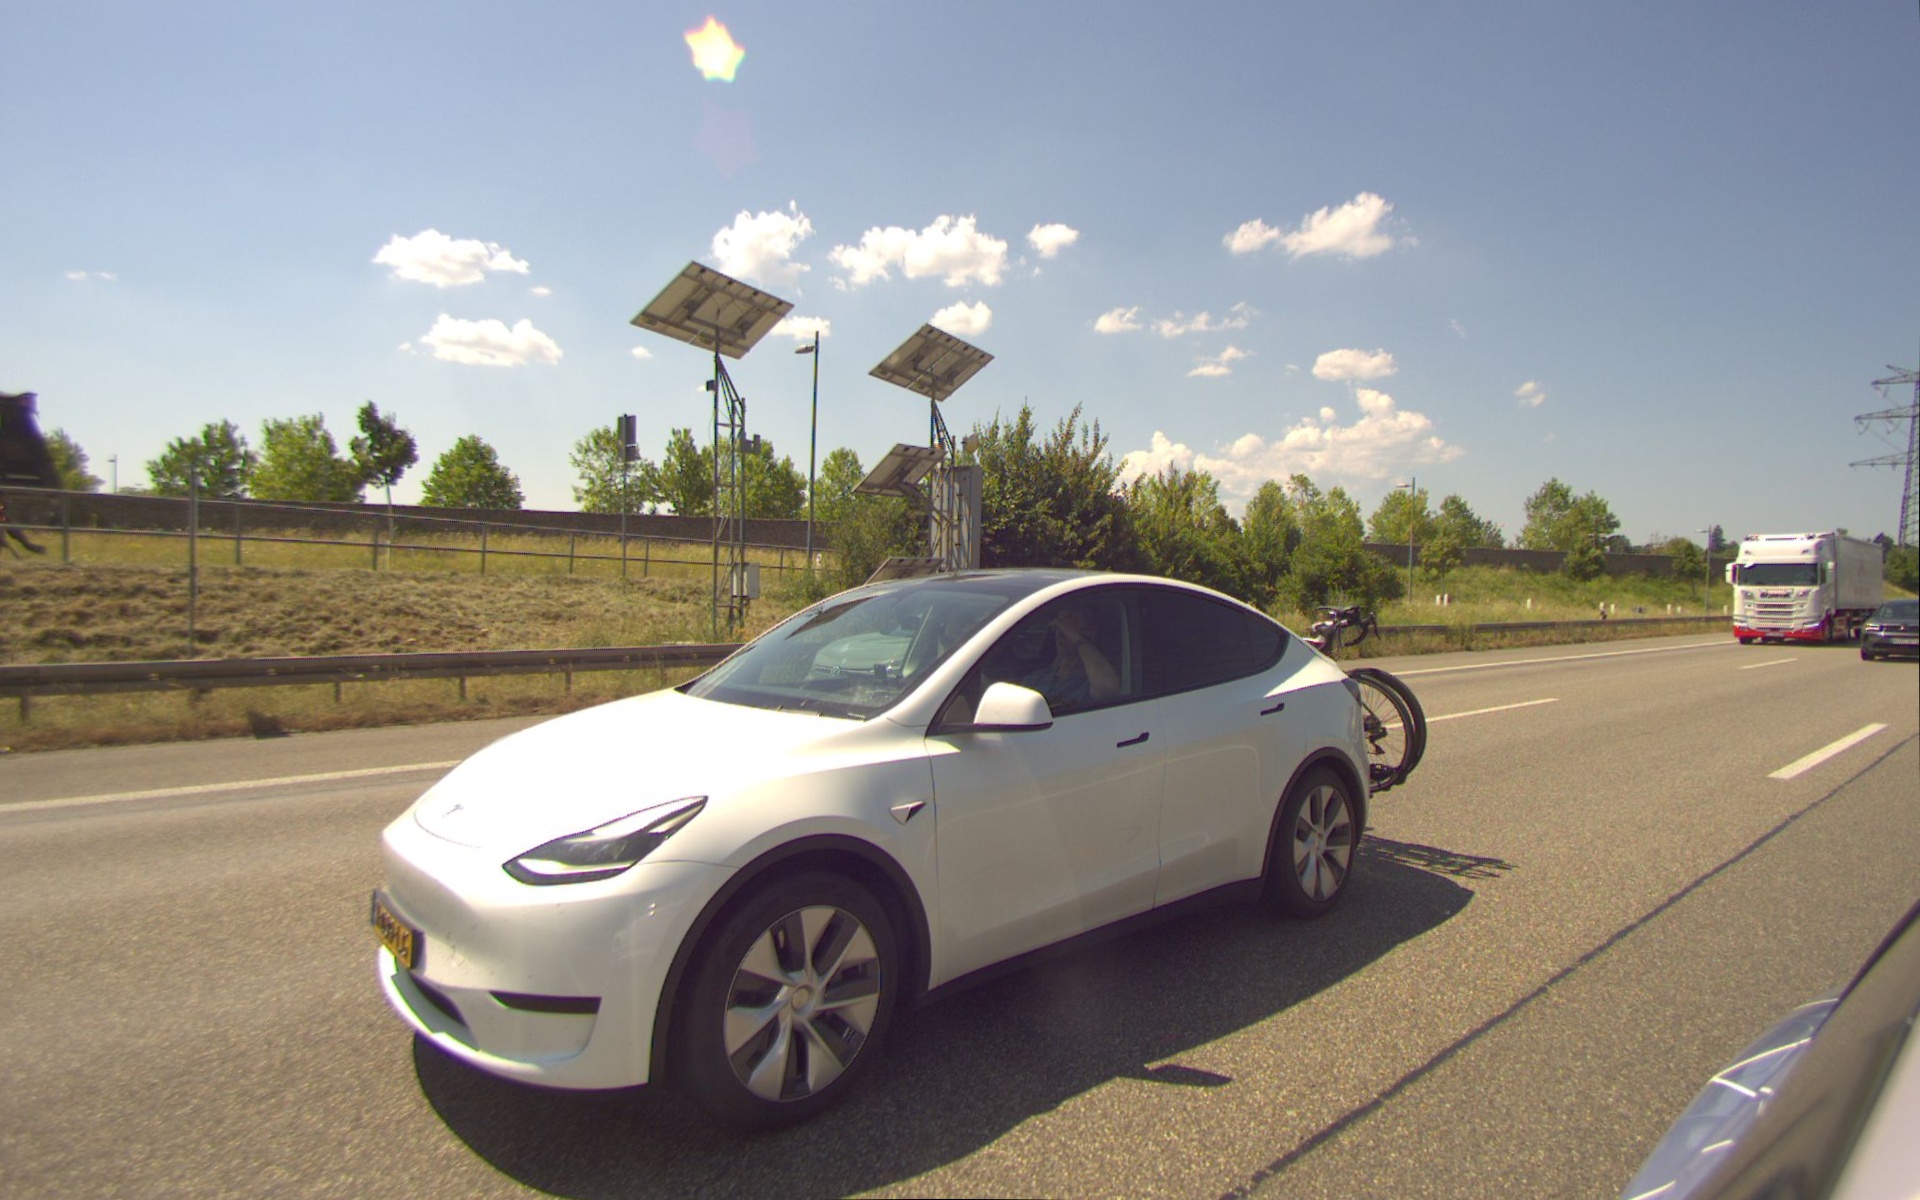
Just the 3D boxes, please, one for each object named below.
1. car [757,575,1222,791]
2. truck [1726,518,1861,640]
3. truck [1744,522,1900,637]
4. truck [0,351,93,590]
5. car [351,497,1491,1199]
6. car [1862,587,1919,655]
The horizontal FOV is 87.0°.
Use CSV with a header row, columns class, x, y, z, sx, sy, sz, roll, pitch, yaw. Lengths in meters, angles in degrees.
class,x,y,z,sx,sy,sz,roll,pitch,yaw
car,0.460,0.624,9.955,4.505,1.657,1.871,0,0,-41
truck,29.037,-0.703,35.259,3.781,3.957,3.073,0,0,-42
truck,34.239,-0.732,39.933,12.288,3.957,3.073,0,0,-42
truck,-21.532,-2.218,15.668,12.303,4.135,3.793,-1,0,-42
car,0.426,0.576,4.857,5.504,1.657,1.953,0,0,-42
car,25.015,0.505,26.170,3.975,1.667,1.954,0,0,-40
